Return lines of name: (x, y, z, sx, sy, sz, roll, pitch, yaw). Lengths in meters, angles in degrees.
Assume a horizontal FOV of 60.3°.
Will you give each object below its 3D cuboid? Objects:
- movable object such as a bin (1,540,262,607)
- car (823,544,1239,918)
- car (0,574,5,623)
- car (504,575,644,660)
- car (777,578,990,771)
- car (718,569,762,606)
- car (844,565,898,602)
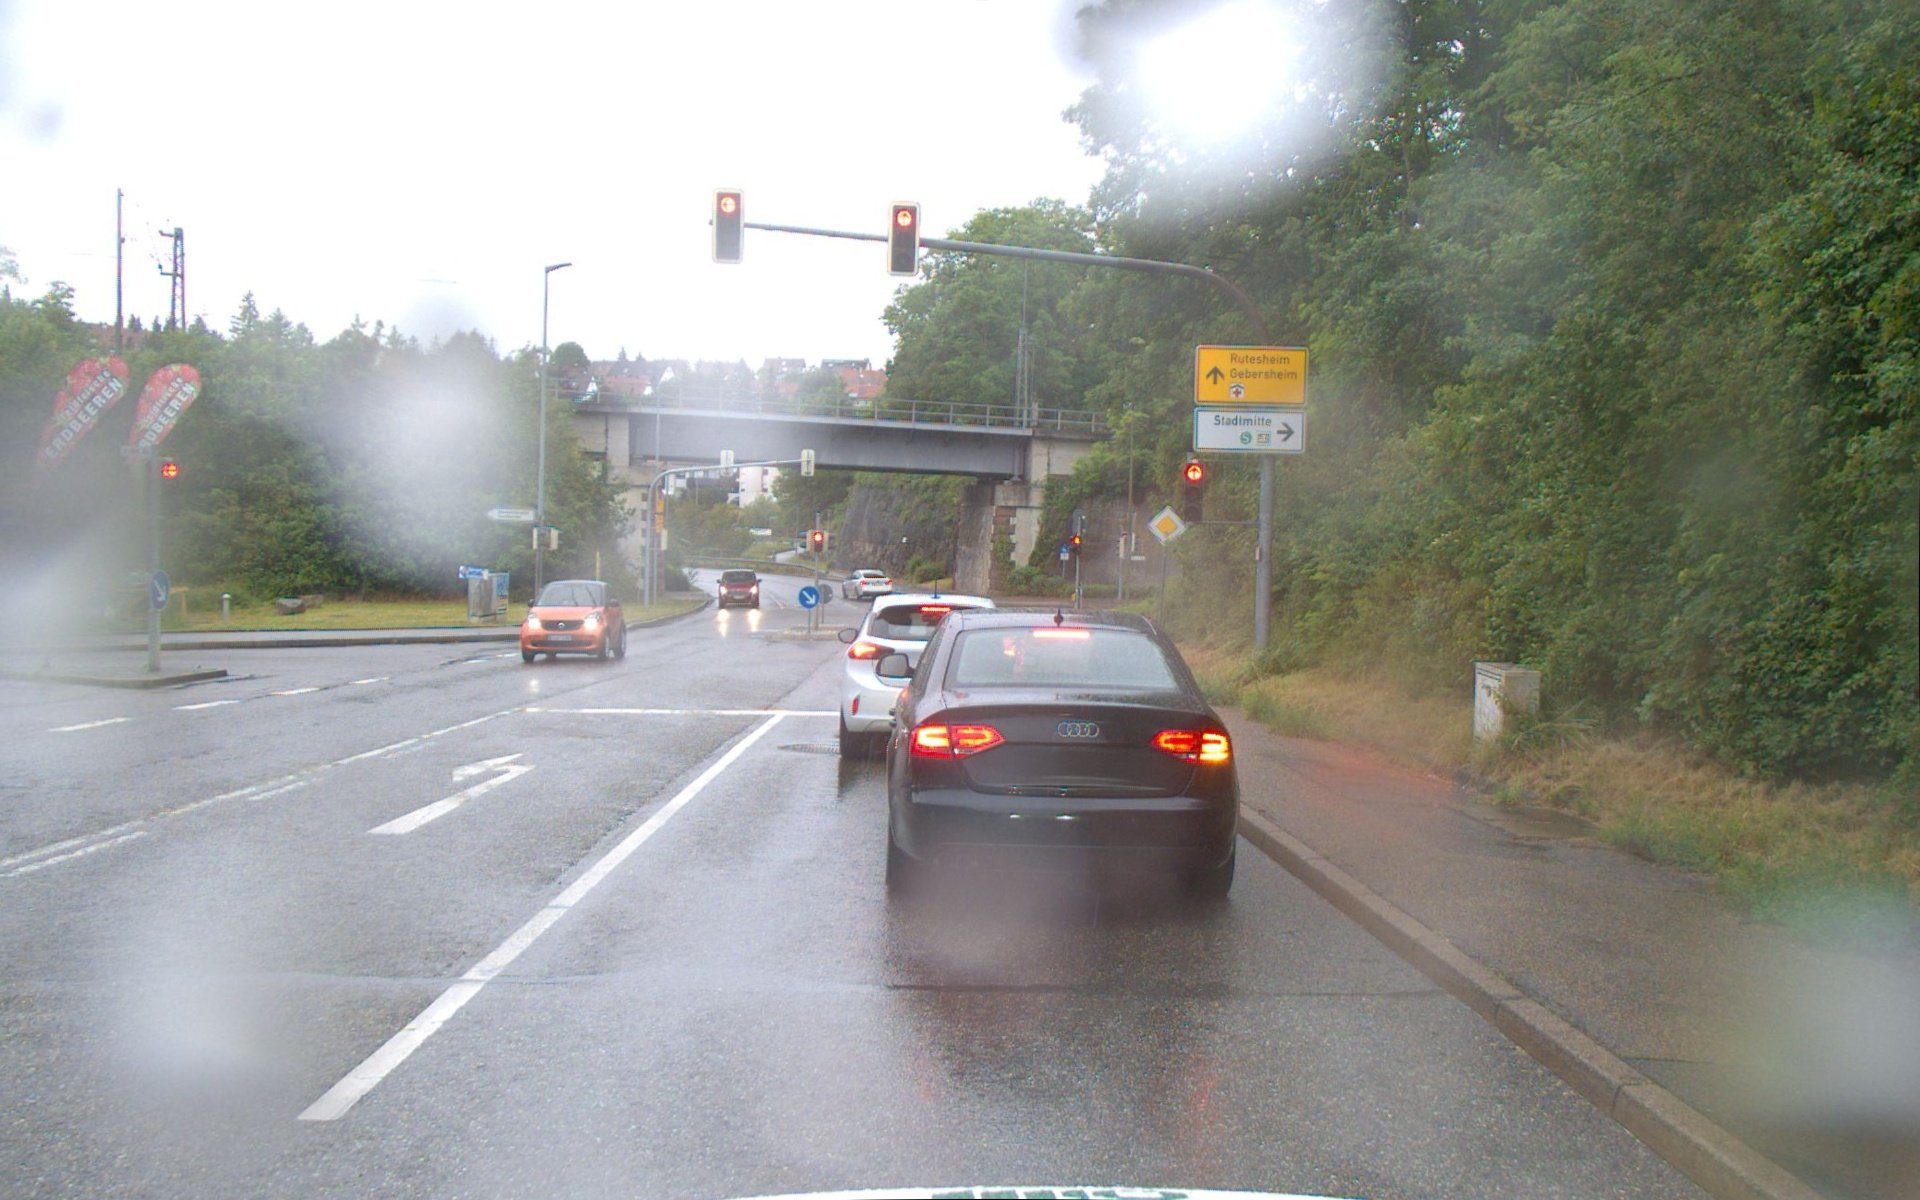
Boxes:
movable object such as a bin: (-22.387, -0.654, 44.908, 2.699, 1.656, 5.752, 0, -1, 39)
car: (0.288, 0.603, 9.315, 1.832, 1.645, 3.999, 0, -1, -1)
car: (-32.123, -0.039, 52.606, 1.960, 1.612, 3.986, -1, 1, -14)
car: (-7.747, 0.359, 33.578, 1.953, 1.613, 3.999, 0, -1, -1)
car: (-0.678, 0.651, 15.950, 1.786, 1.613, 3.999, 0, -1, -1)
car: (-10.196, -0.600, 76.603, 1.956, 1.656, 3.993, 0, 0, -8)
car: (-4.570, -0.792, 84.231, 1.775, 1.773, 4.460, 1, -1, -16)
